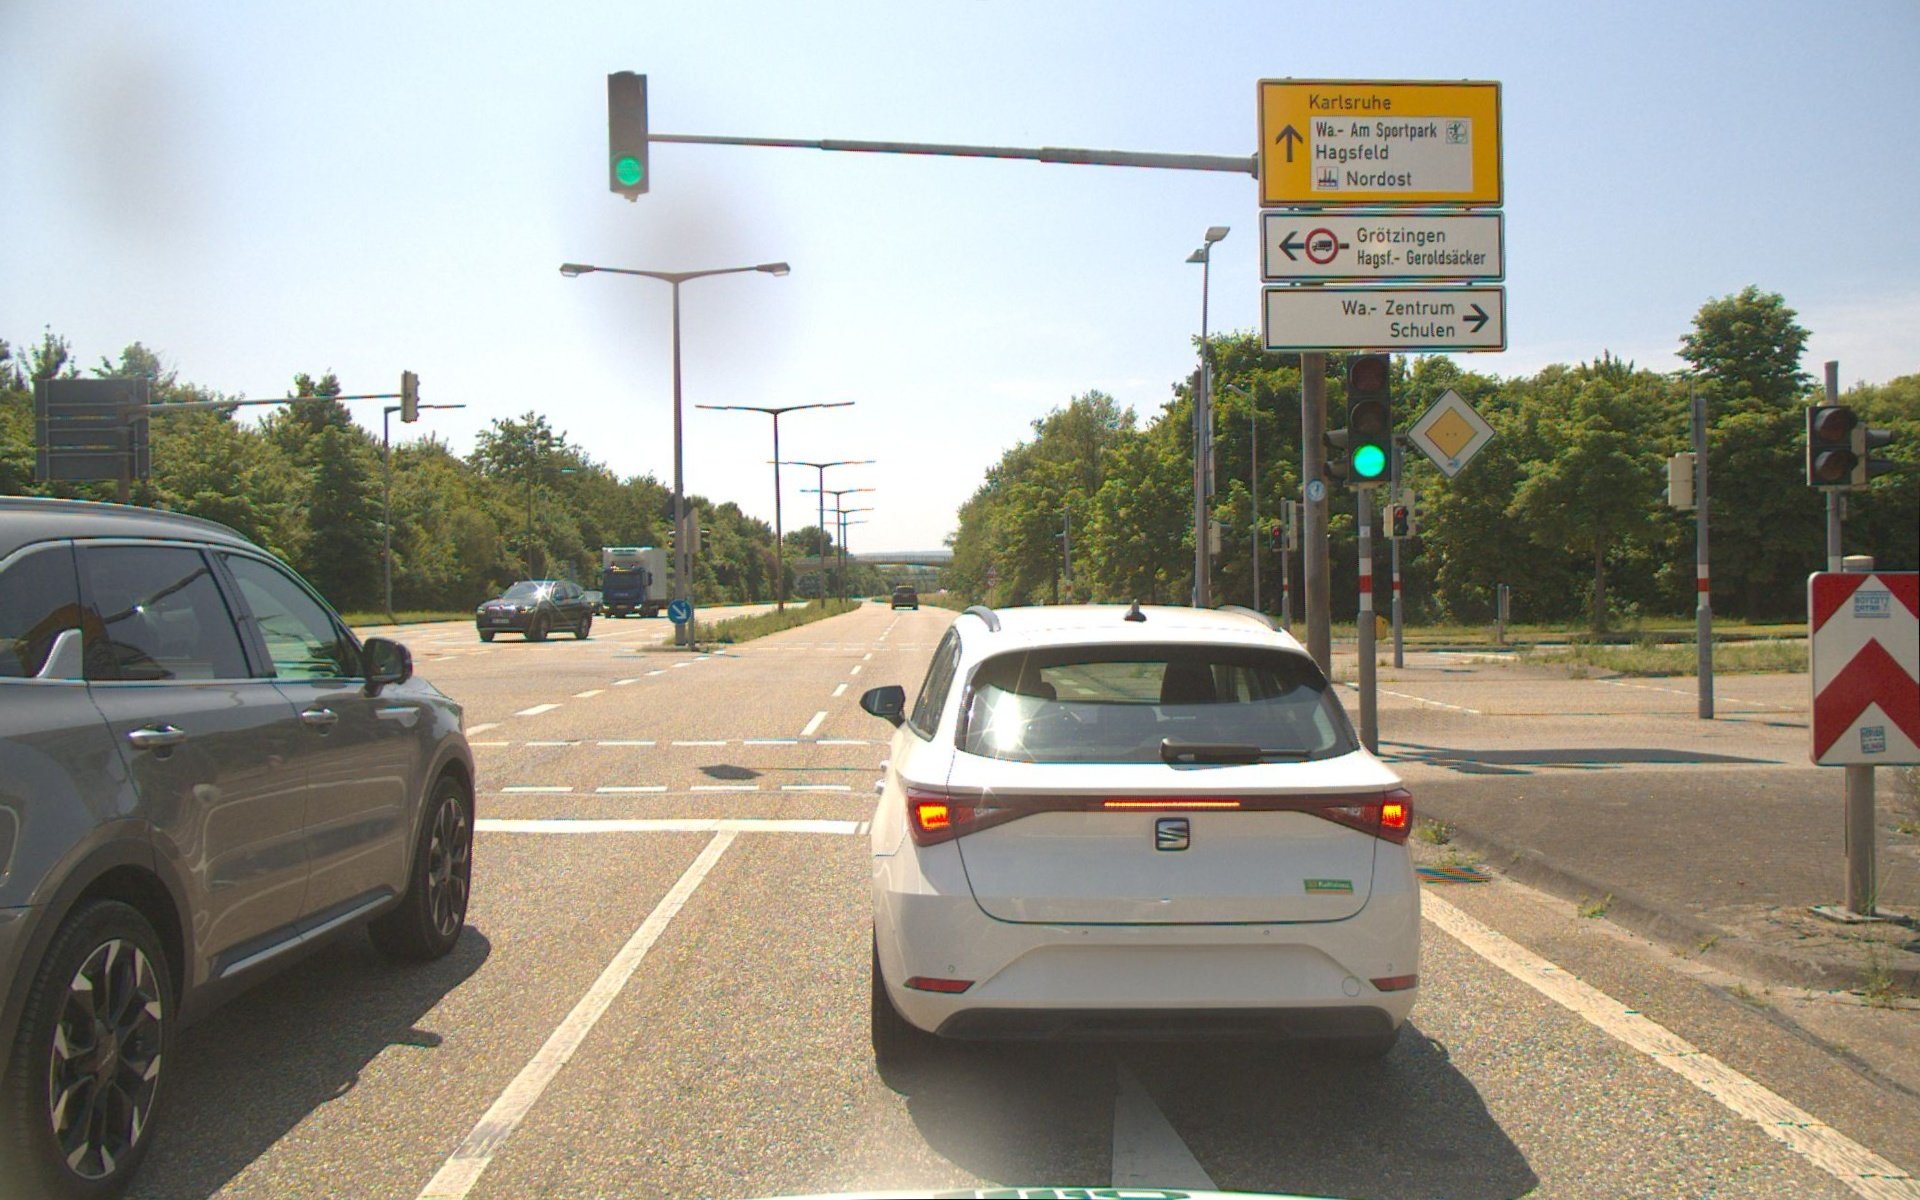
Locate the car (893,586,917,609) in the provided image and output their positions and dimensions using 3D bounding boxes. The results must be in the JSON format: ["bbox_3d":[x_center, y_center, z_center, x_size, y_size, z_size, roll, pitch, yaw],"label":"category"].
[{"bbox_3d":[-4.301,-0.218,129.617,1.817,1.738,3.999,-1,0,-2],"label":"car"}]

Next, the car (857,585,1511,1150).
[{"bbox_3d":[0.565,0.711,6.176,1.699,1.453,3.693,1,0,-1],"label":"car"}]

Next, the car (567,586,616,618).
[{"bbox_3d":[-21.175,0.106,95.183,1.785,1.762,4.925,-1,0,-1],"label":"car"}]

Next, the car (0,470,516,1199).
[{"bbox_3d":[-2.870,0.583,5.158,1.767,1.691,4.643,-1,0,-1],"label":"car"}]

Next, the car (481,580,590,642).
[{"bbox_3d":[-12.121,0.272,47.456,1.671,1.692,4.226,-1,1,5],"label":"car"}]

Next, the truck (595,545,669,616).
[{"bbox_3d":[-17.307,-1.022,87.702,2.633,3.633,7.266,0,0,-1],"label":"truck"}]

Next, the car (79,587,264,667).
[{"bbox_3d":[-15.804,0.497,33.390,1.785,1.481,4.168,-1,0,-1],"label":"car"}]
